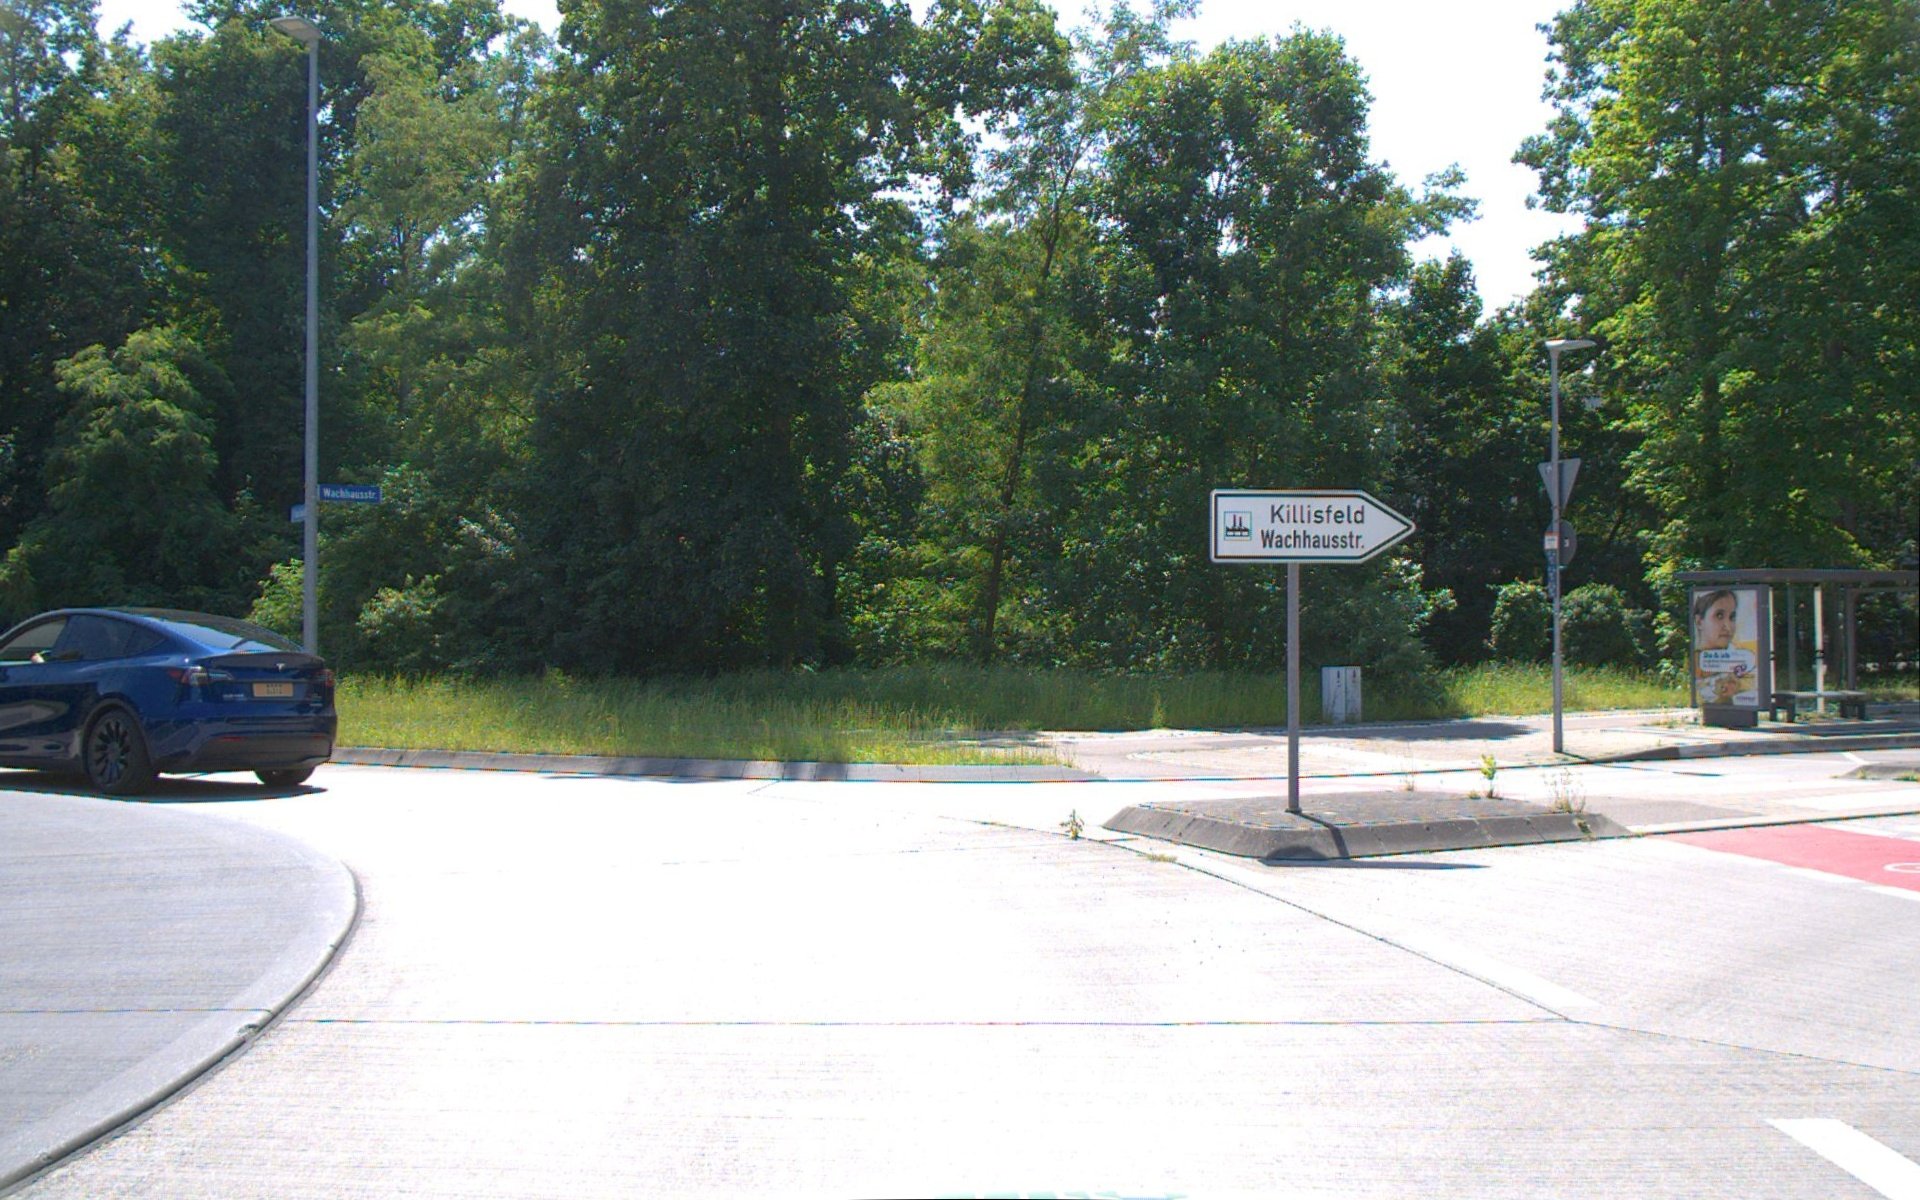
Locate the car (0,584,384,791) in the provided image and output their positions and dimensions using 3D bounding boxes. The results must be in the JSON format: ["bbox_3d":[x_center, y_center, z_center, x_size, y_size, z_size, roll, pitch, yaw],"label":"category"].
[{"bbox_3d":[-7.783,0.750,15.345,4.650,1.668,1.997,-1,-1,28],"label":"car"}]
